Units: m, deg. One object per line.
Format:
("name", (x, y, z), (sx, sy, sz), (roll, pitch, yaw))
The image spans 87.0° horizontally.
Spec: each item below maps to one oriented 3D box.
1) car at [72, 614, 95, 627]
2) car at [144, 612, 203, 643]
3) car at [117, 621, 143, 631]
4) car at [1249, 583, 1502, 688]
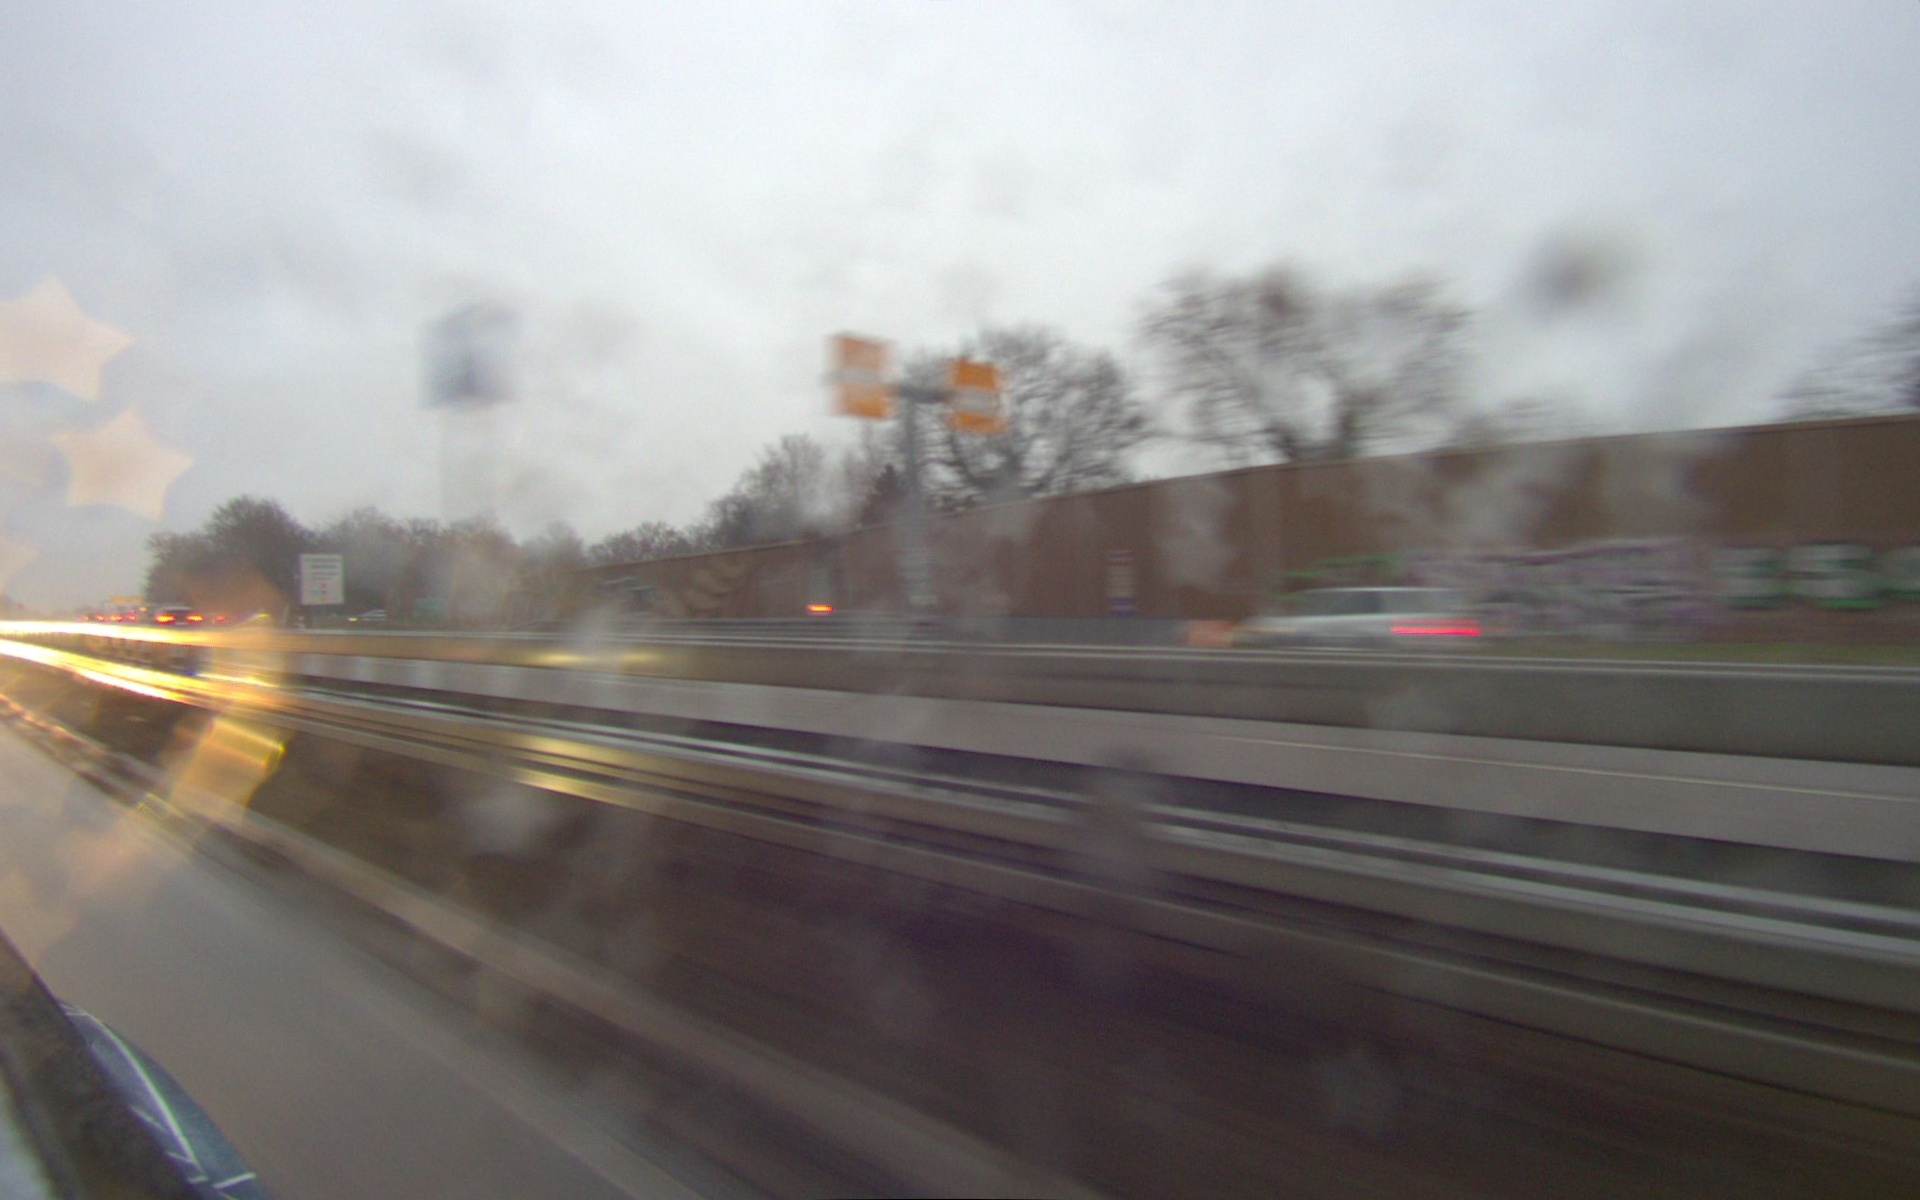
("car", (-98.369, 2.301, 113.595), (3.683, 1.452, 1.678), (-1, 0, 45))
("car", (-42.374, 1.456, 54.498), (4.355, 1.567, 1.817), (-1, 0, 43))
("car", (-104.104, 3.286, 126.915), (3.996, 1.170, 1.779), (-1, 0, 39))
("car", (8.506, 0.667, 21.048), (1.968, 1.928, 4.454), (-1, 0, -39))
